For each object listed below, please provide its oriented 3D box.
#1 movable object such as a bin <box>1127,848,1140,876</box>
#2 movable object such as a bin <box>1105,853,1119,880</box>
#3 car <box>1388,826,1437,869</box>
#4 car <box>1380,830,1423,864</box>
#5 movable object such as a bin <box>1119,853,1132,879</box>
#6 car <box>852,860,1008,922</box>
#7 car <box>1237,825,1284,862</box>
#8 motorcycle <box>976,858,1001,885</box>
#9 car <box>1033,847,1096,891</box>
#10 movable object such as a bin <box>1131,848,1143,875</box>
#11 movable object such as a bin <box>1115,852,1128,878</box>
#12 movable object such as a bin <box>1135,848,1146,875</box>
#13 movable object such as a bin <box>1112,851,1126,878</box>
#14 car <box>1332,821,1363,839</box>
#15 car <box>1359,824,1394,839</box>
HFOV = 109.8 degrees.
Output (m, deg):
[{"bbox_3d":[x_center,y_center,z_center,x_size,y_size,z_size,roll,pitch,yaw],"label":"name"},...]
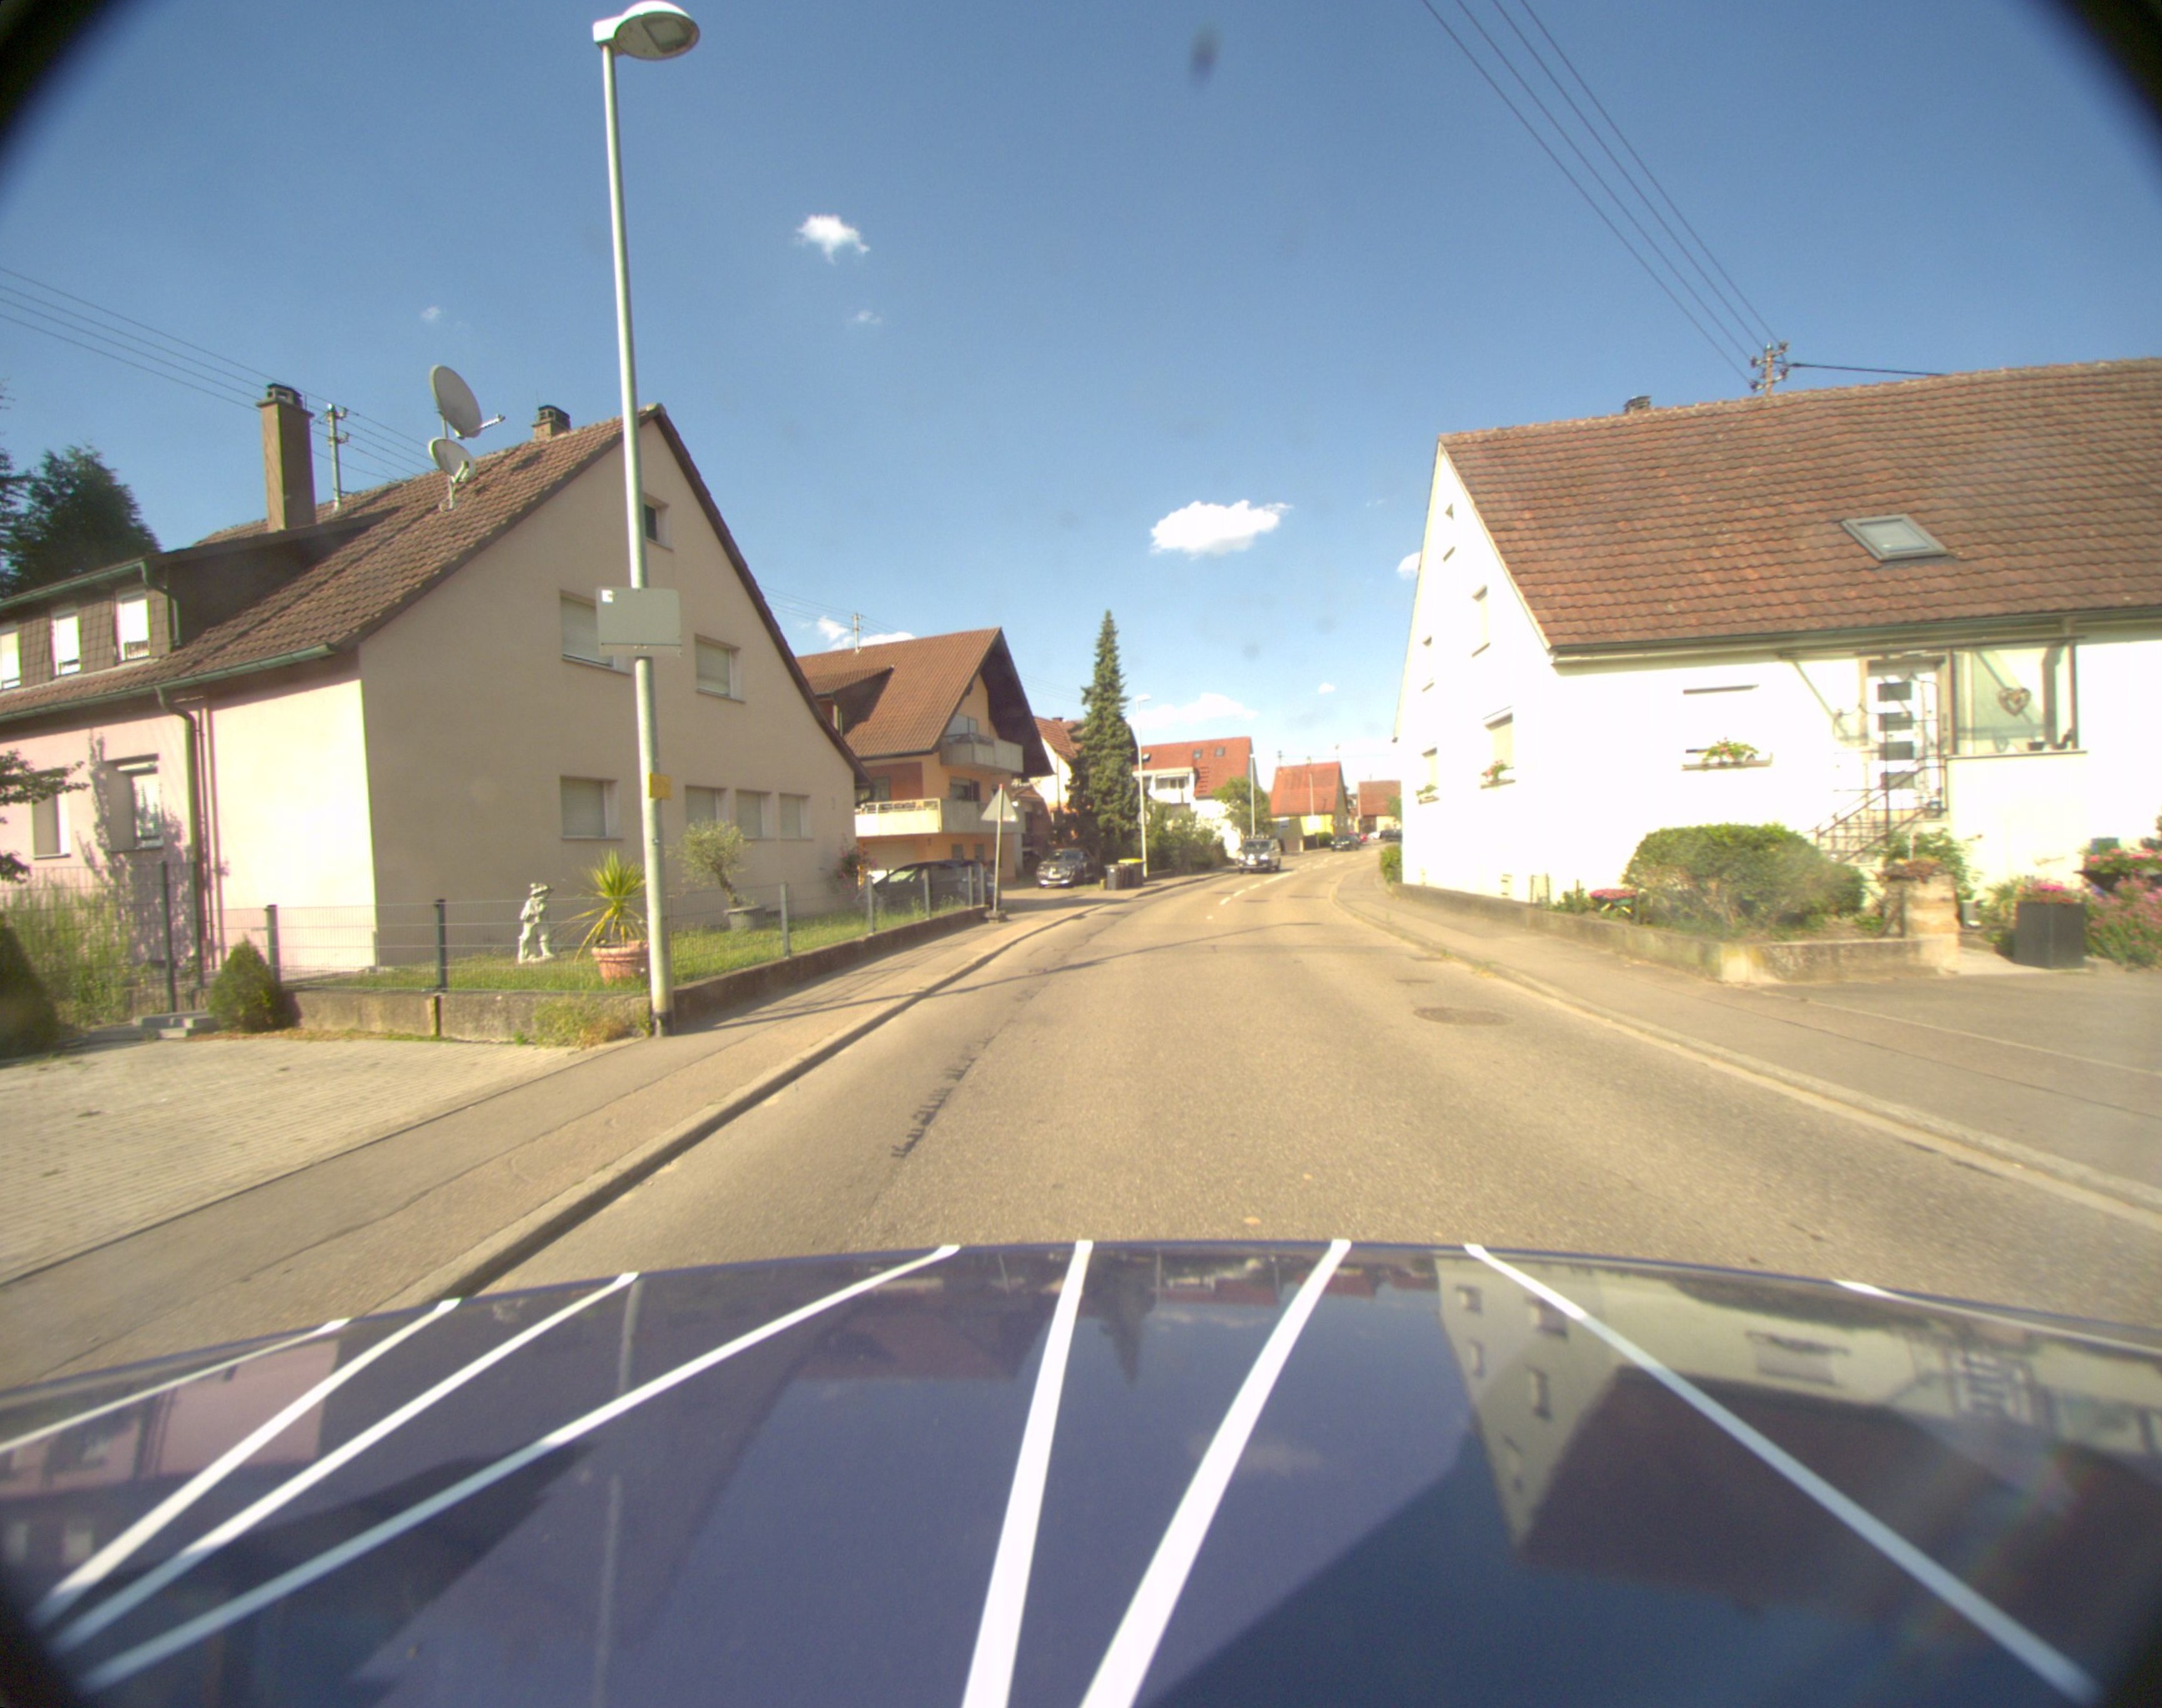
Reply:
[{"bbox_3d":[2.077,0.313,30.002,0.382,1.102,0.375,-3,0,18],"label":"movable object such as a bin"},{"bbox_3d":[1.169,0.454,28.340,0.391,0.975,0.351,-3,0,18],"label":"movable object such as a bin"},{"bbox_3d":[13.514,-0.289,30.894,1.509,1.584,3.664,-3,0,28],"label":"car"},{"bbox_3d":[15.184,-0.334,35.949,1.509,1.457,3.664,-3,0,28],"label":"car"},{"bbox_3d":[1.727,0.454,29.584,0.391,0.975,0.351,-3,0,18],"label":"movable object such as a bin"},{"bbox_3d":[-3.894,0.951,19.595,3.691,1.426,1.438,-3,0,22],"label":"car"},{"bbox_3d":[10.680,-0.627,44.887,1.817,1.988,4.828,-3,0,23],"label":"car"},{"bbox_3d":[-4.024,0.751,33.211,0.375,1.141,1.648,-3,0,19],"label":"motorcycle"},{"bbox_3d":[-0.599,0.554,30.958,1.645,1.508,3.803,-3,2,13],"label":"car"},{"bbox_3d":[2.260,0.299,30.593,0.335,1.102,0.440,-3,0,18],"label":"movable object such as a bin"},{"bbox_3d":[1.560,0.432,29.163,0.391,0.975,0.351,-3,0,18],"label":"movable object such as a bin"},{"bbox_3d":[2.431,0.313,31.028,0.294,1.102,0.387,-3,0,18],"label":"movable object such as a bin"},{"bbox_3d":[1.443,0.391,28.788,0.391,0.975,0.351,-3,0,18],"label":"movable object such as a bin"},{"bbox_3d":[26.635,-2.376,75.866,1.969,1.647,4.008,0,1,34],"label":"car"},{"bbox_3d":[39.859,-3.022,102.499,3.989,2.002,1.978,0,1,32],"label":"car"}]
